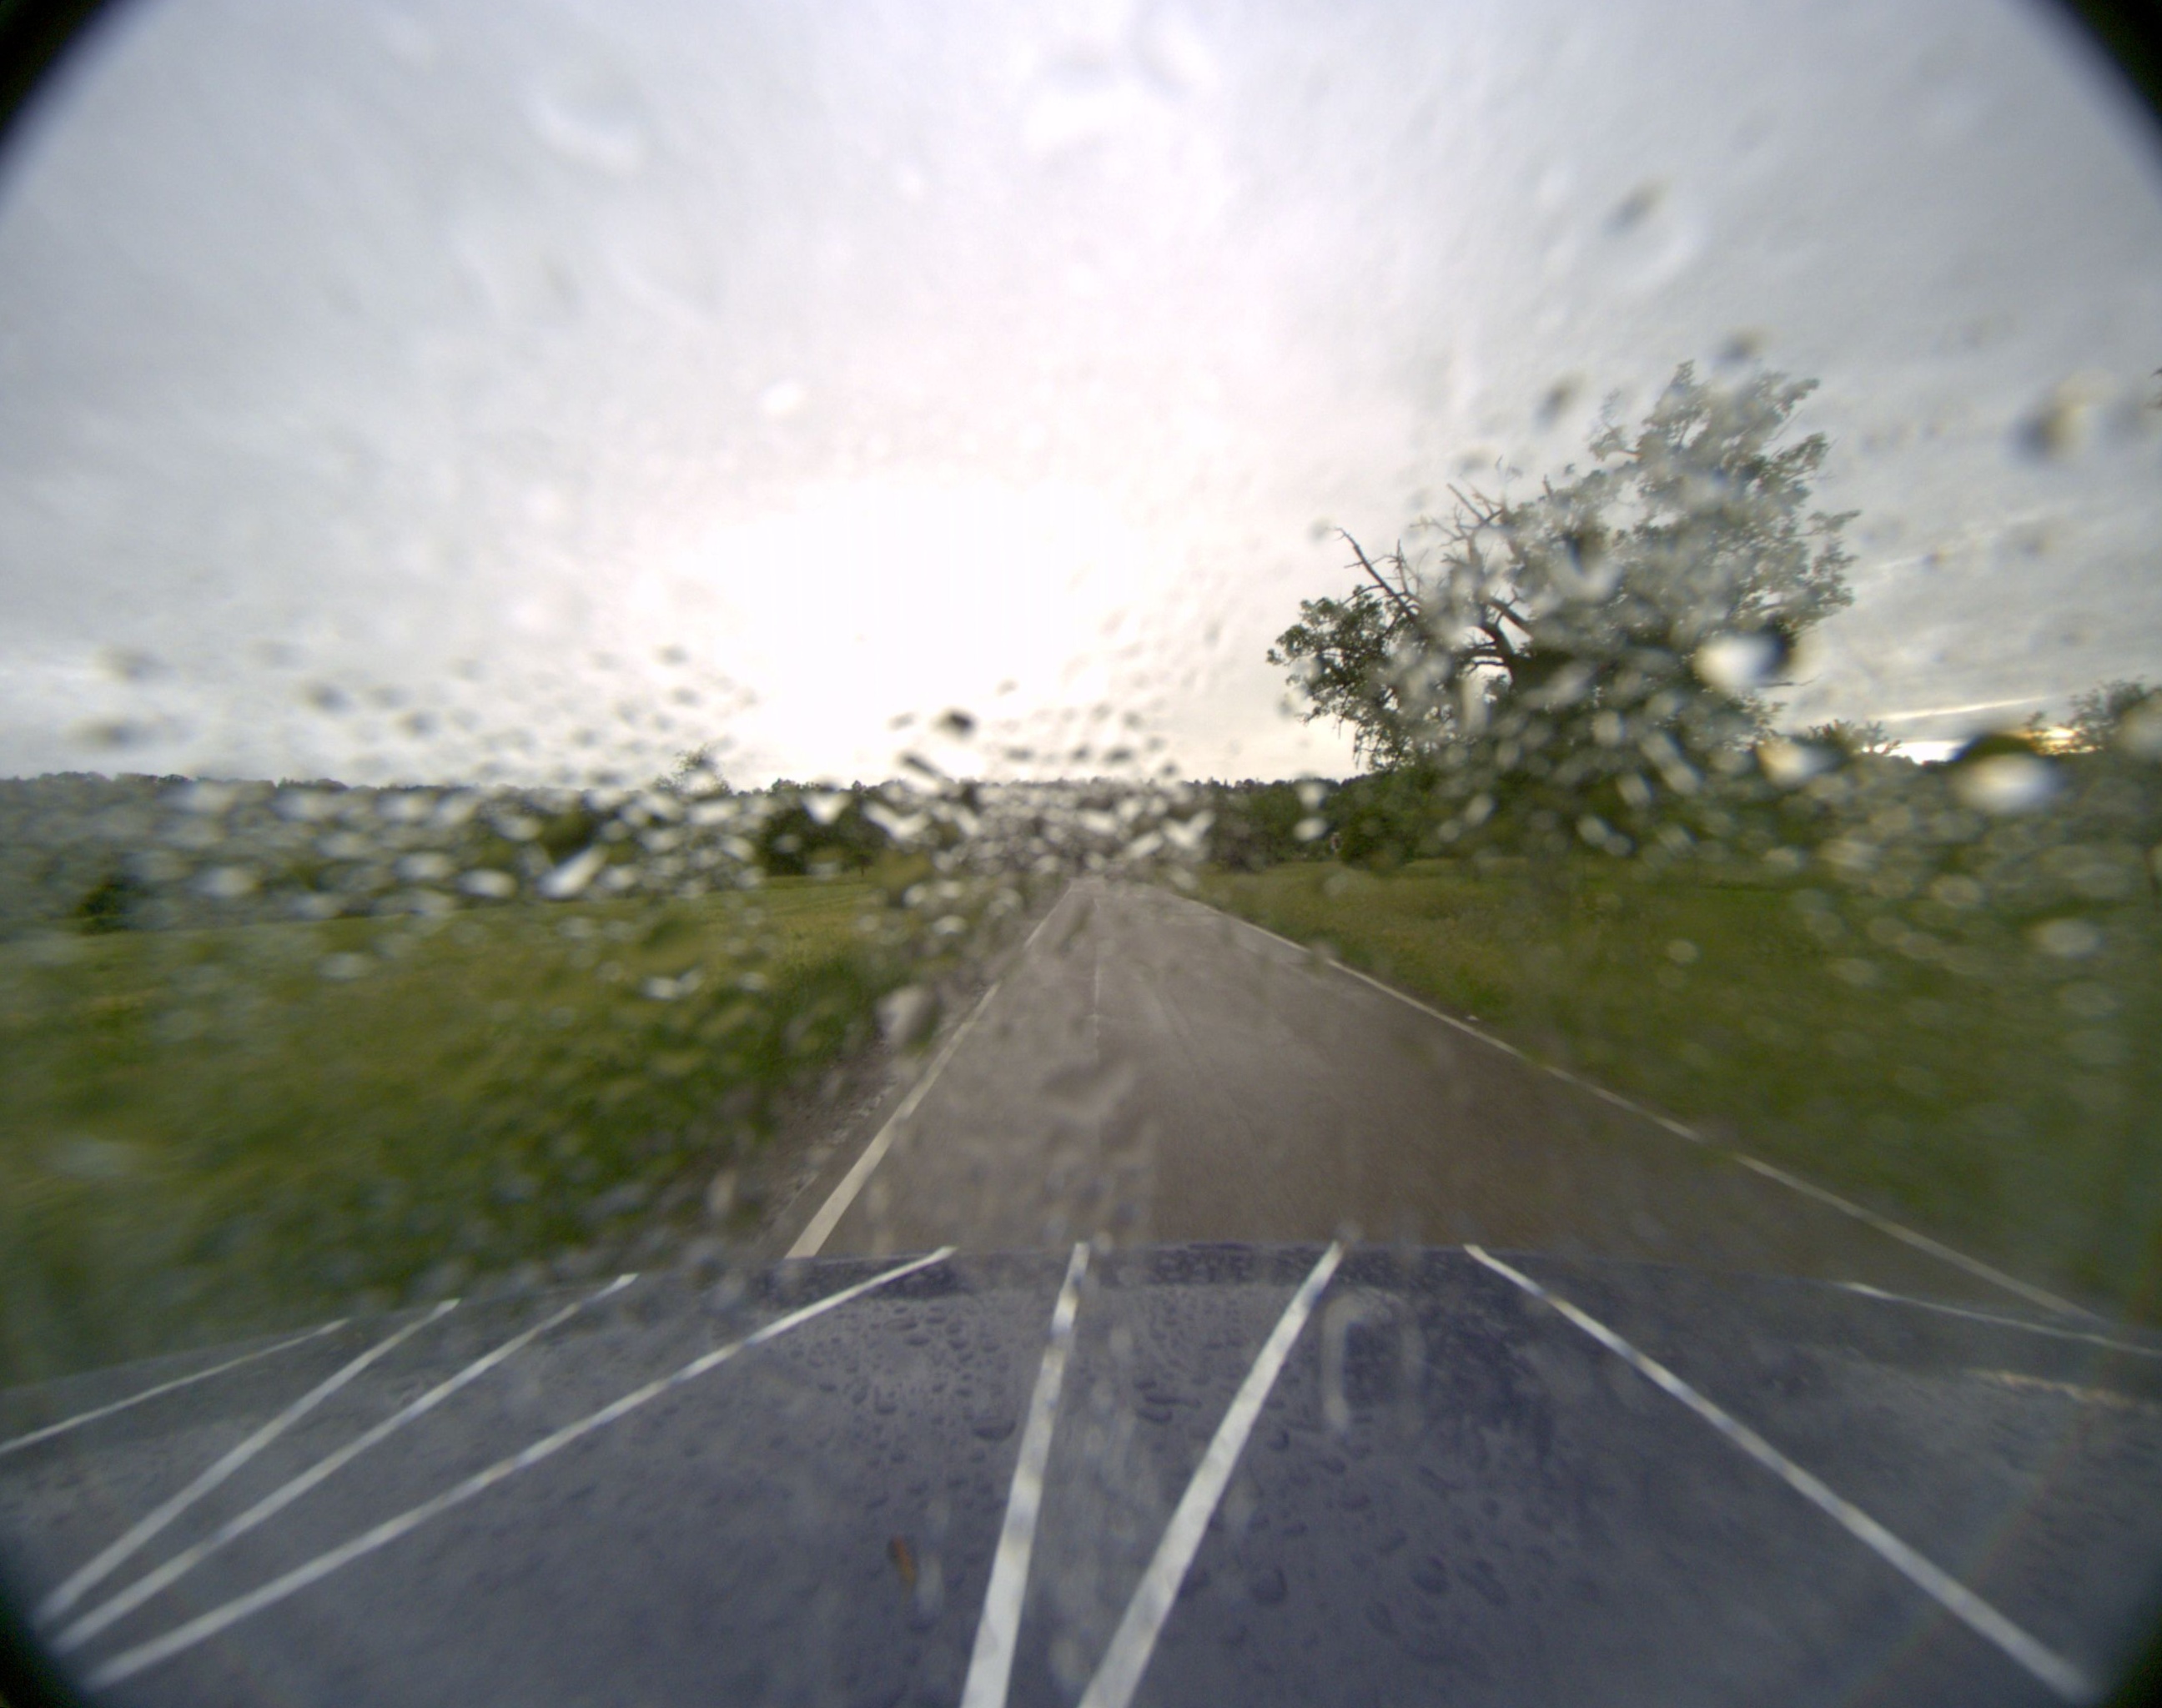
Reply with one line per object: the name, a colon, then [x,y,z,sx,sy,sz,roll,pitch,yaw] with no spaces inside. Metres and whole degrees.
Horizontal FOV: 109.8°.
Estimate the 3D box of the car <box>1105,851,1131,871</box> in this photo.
car: [2.919,0.539,60.647,1.744,1.463,4.121,-3,1,-2]
